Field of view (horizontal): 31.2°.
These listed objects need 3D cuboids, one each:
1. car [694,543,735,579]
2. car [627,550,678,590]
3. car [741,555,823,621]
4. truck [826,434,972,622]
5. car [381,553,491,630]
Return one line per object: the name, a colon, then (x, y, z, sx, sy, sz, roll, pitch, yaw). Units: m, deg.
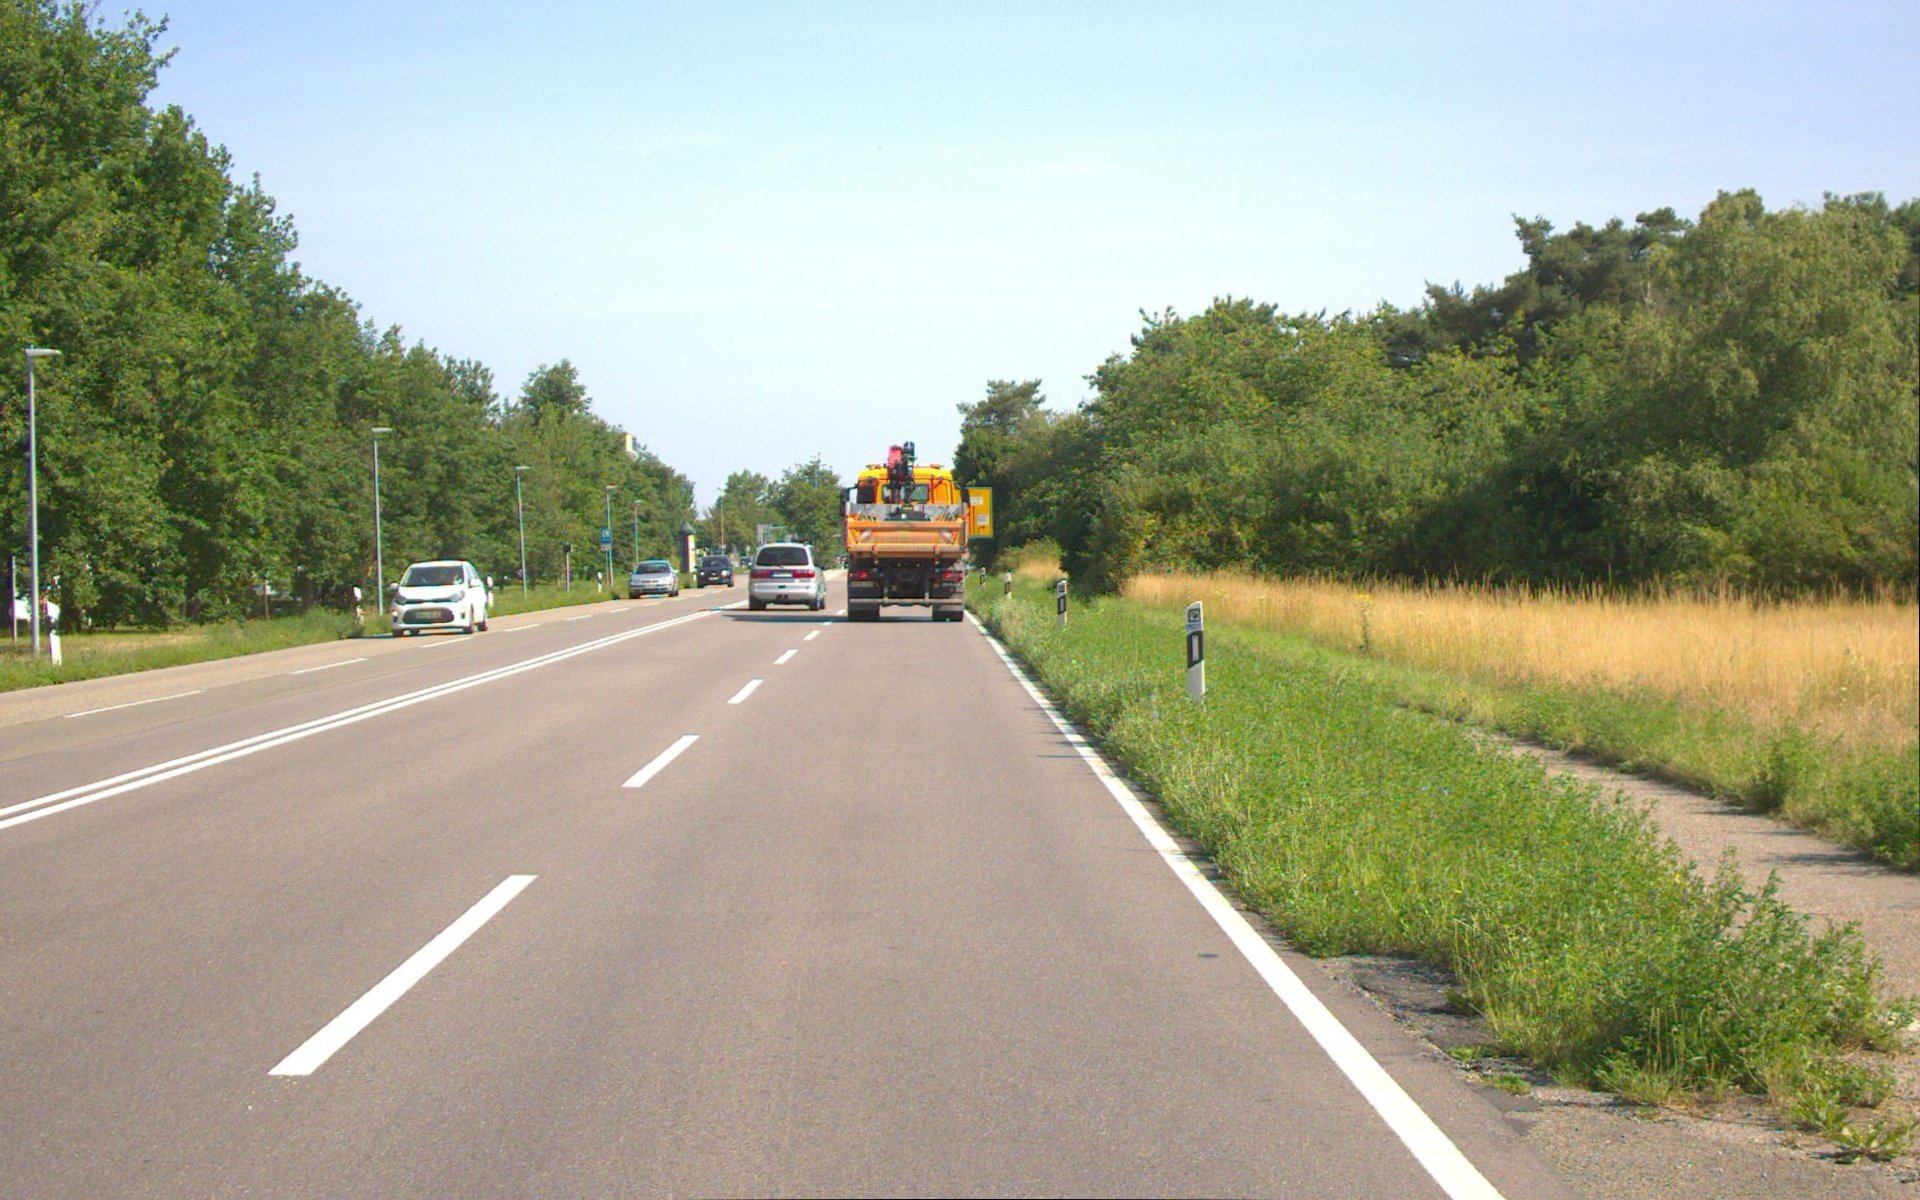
car: (-12.494, -1.996, 175.328, 1.825, 1.666, 4.390, -3, 1, -2)
car: (-11.828, -1.165, 132.463, 1.598, 1.437, 4.000, -3, 1, -1)
car: (-4.495, -0.332, 86.803, 1.993, 1.578, 4.001, -1, 1, -3)
truck: (-1.405, -1.538, 75.017, 2.871, 3.867, 7.401, 1, 1, -3)
car: (-10.618, -0.187, 69.804, 1.659, 1.432, 3.736, -3, 1, -1)
